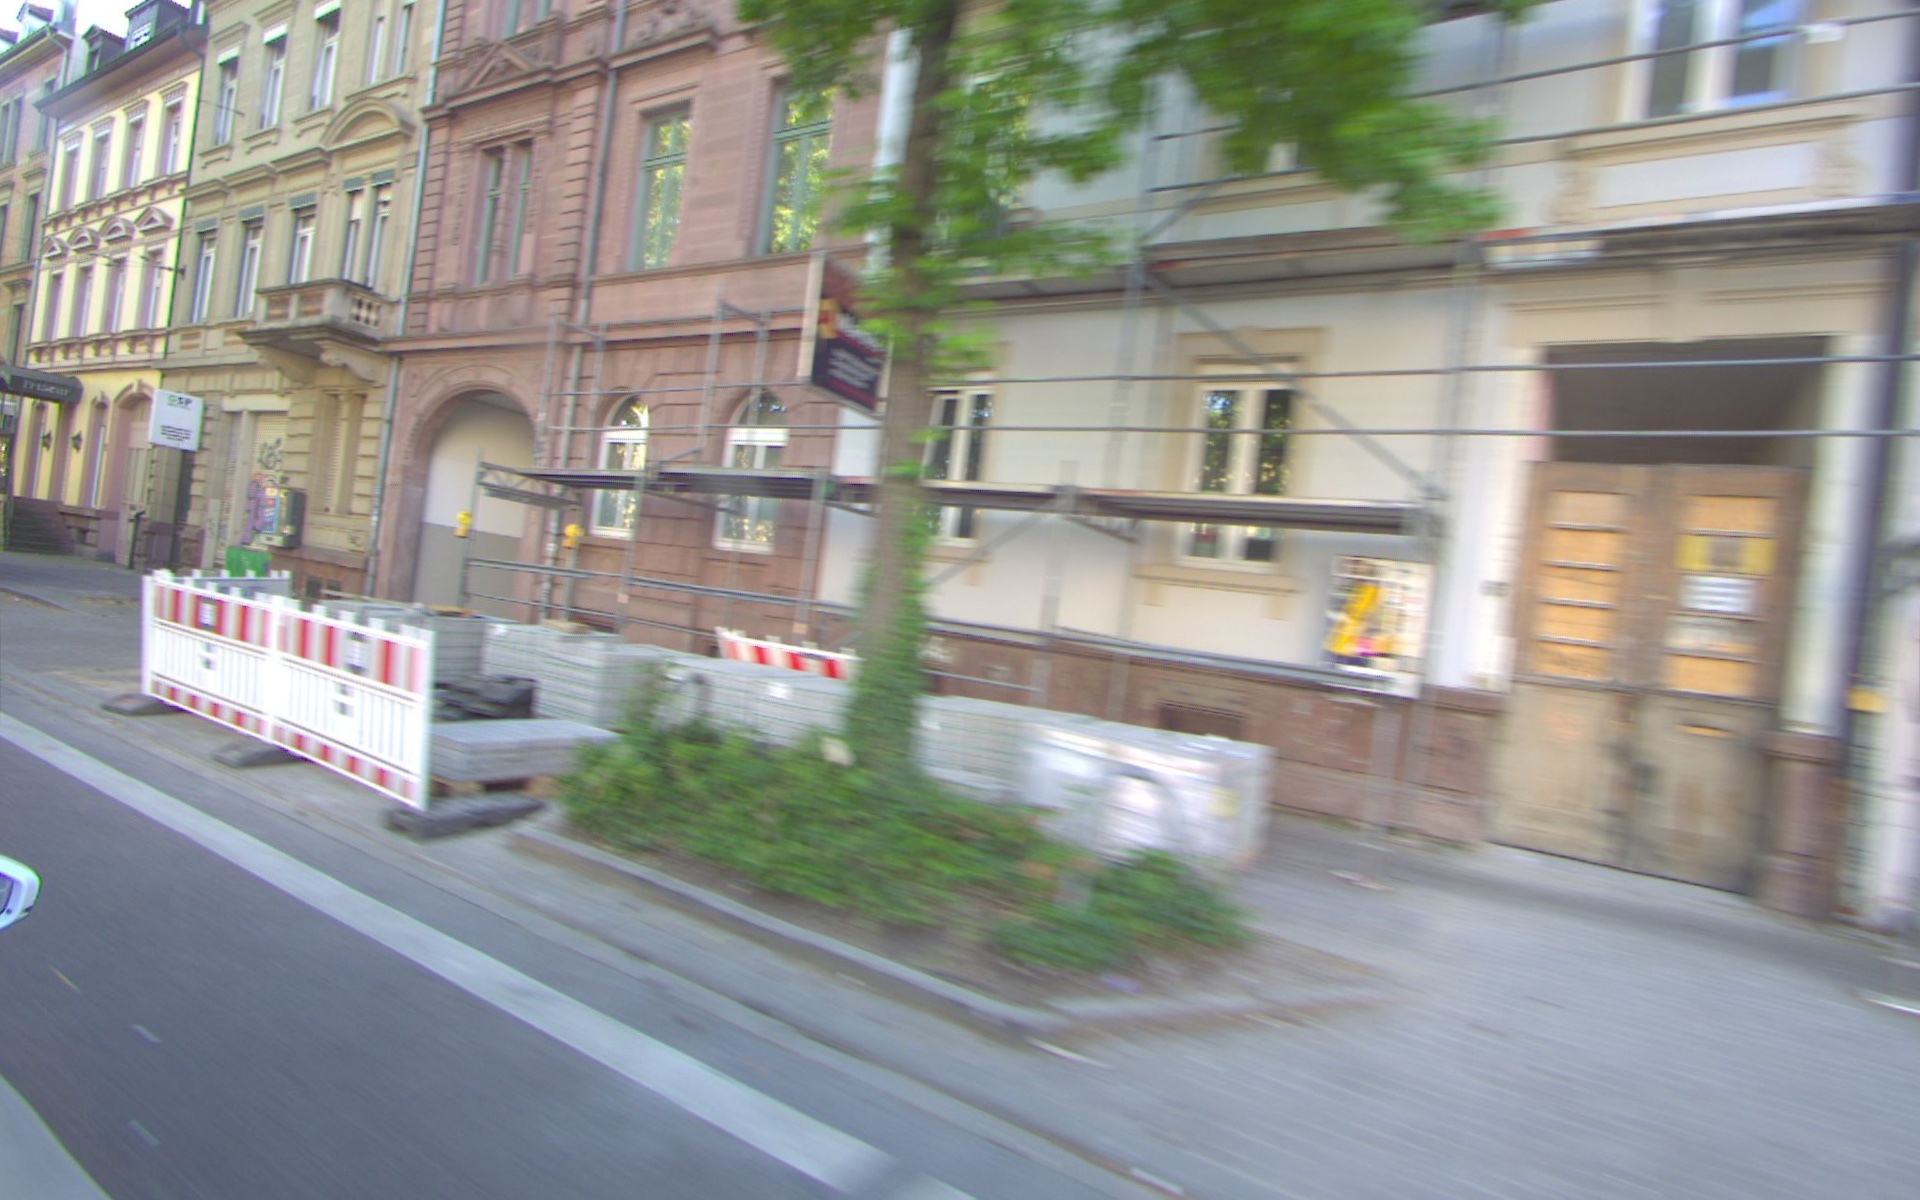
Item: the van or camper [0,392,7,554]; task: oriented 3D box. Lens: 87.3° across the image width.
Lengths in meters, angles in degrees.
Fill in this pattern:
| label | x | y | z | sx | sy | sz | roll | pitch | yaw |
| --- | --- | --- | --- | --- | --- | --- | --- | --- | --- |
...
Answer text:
| label | x | y | z | sx | sy | sz | roll | pitch | yaw |
| --- | --- | --- | --- | --- | --- | --- | --- | --- | --- |
| van or camper | -18.599 | -2.081 | 16.697 | 7.759 | 3.012 | 2.476 | 7 | 2 | 35 |
